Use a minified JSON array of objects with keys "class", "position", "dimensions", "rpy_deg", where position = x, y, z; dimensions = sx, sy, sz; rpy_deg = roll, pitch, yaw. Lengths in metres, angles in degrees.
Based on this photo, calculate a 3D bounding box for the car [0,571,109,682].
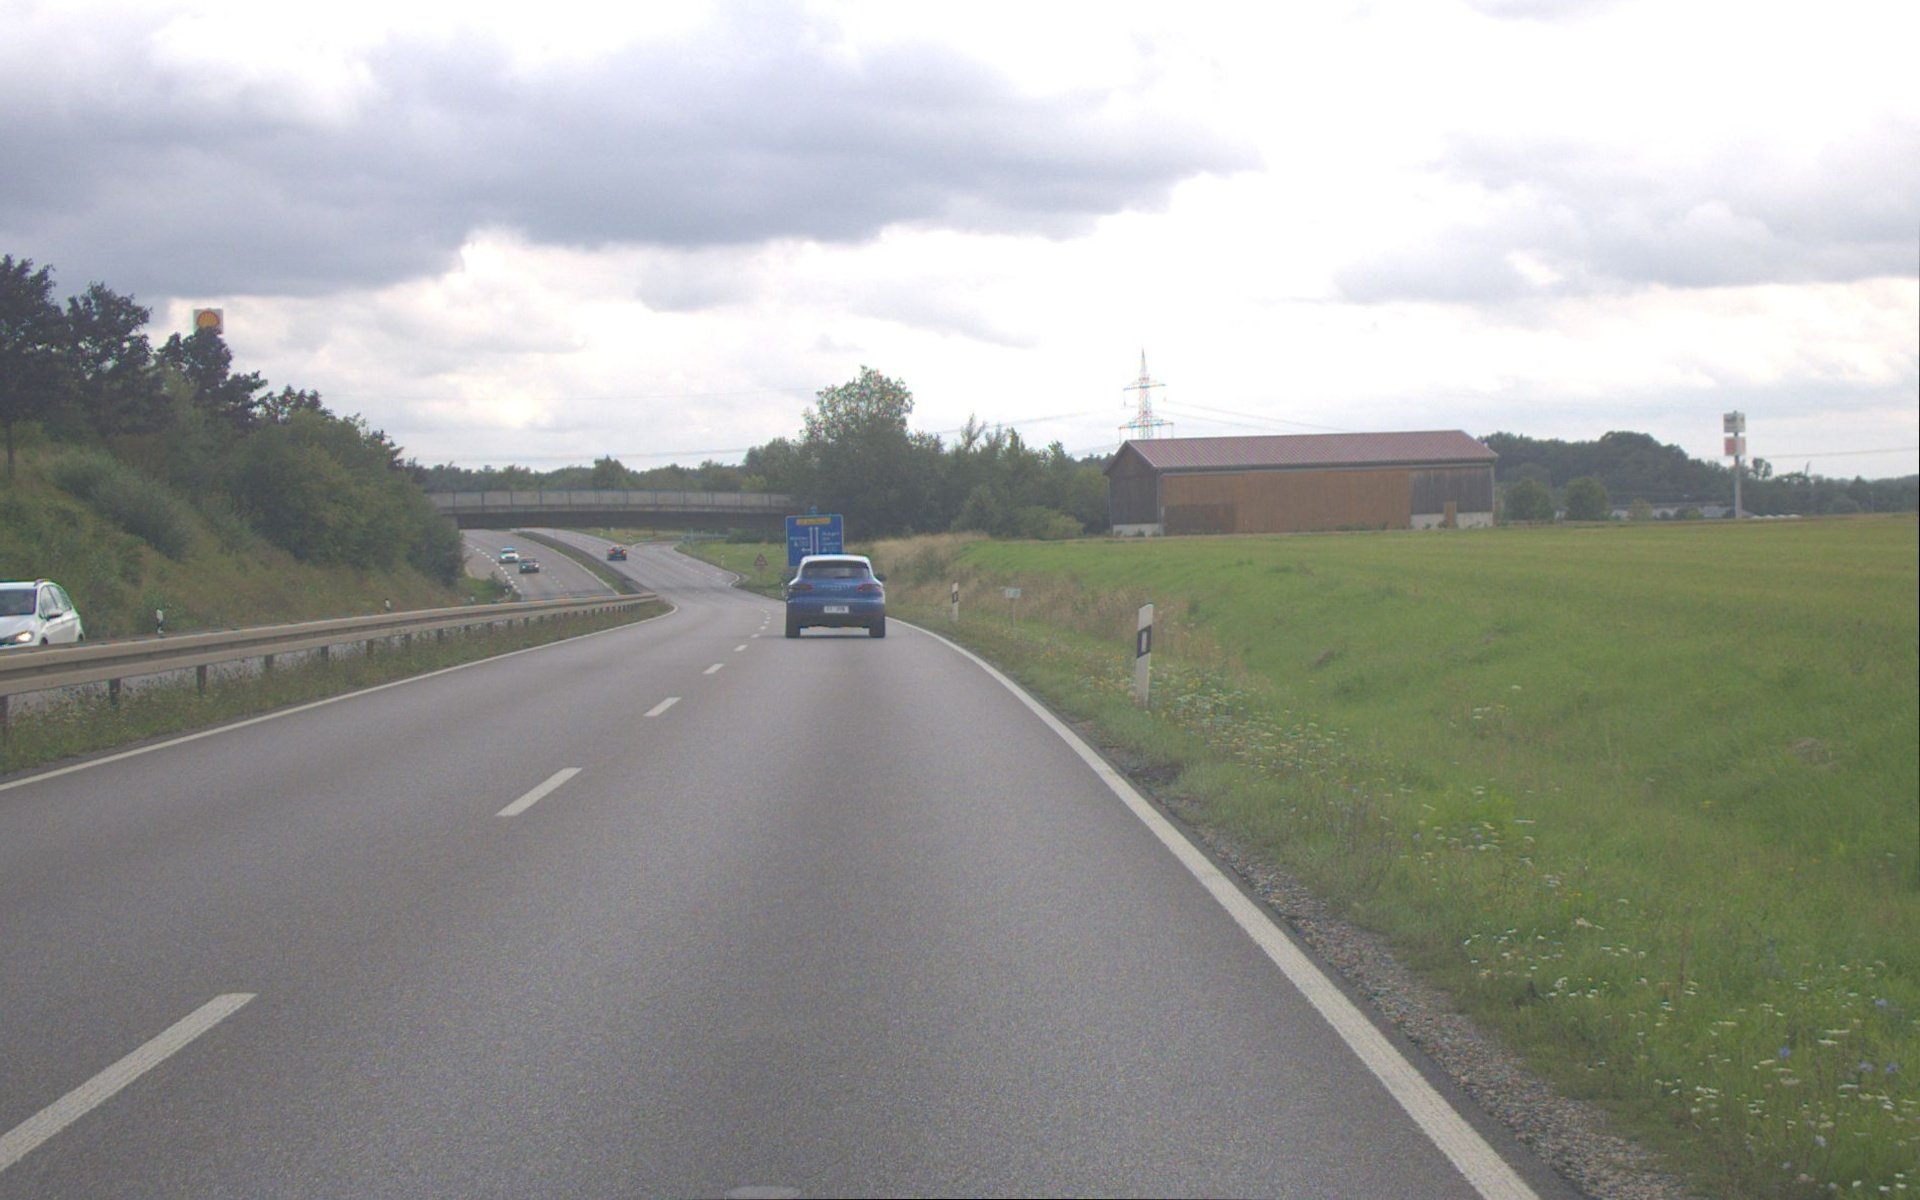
[{"class":"car","position":[-15.001,0.406,54.757],"dimensions":[1.920,1.512,4.464],"rpy_deg":[-2,3,-2]}]

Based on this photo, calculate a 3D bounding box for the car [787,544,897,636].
[{"class":"car","position":[-2.352,-0.226,67.405],"dimensions":[2.033,1.654,4.544],"rpy_deg":[0,2,-4]}]
